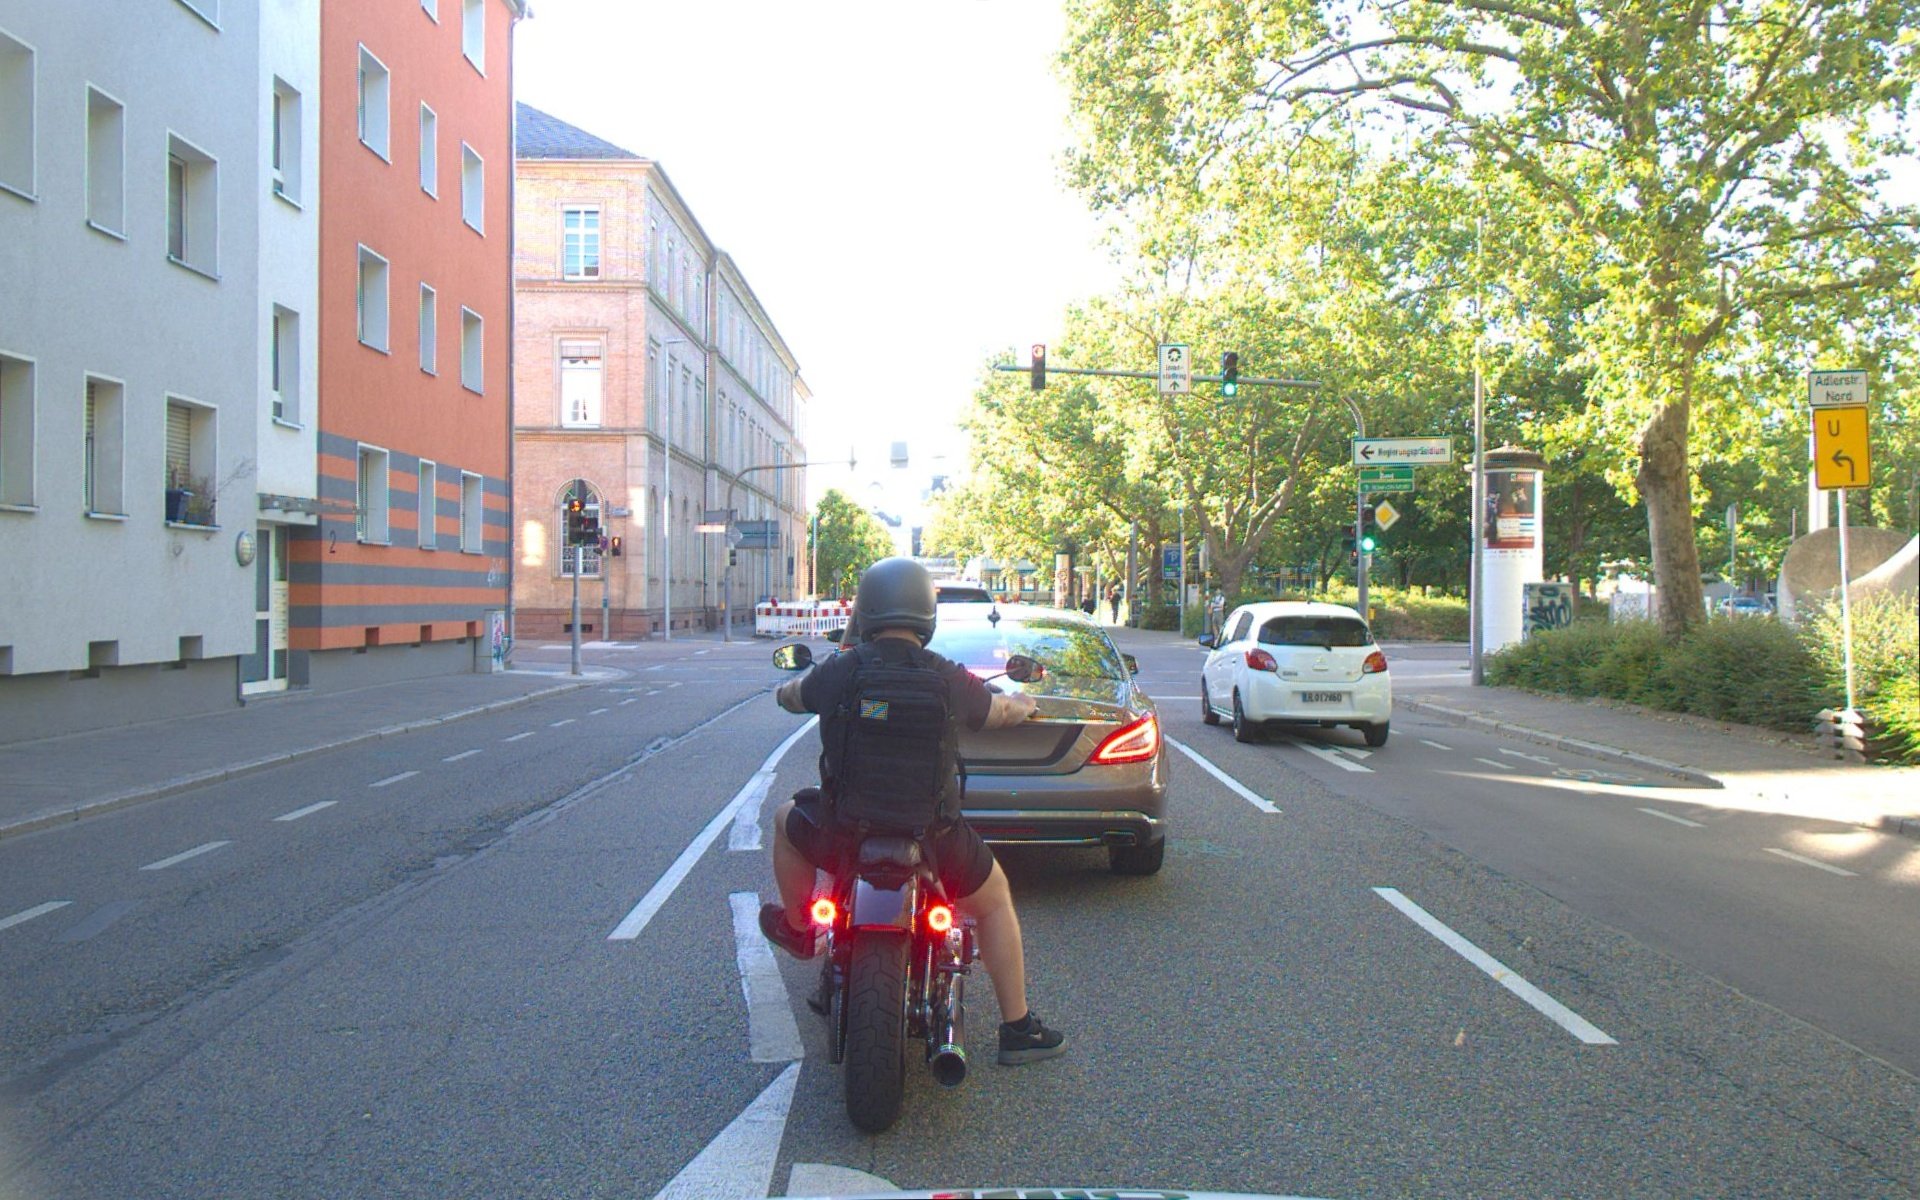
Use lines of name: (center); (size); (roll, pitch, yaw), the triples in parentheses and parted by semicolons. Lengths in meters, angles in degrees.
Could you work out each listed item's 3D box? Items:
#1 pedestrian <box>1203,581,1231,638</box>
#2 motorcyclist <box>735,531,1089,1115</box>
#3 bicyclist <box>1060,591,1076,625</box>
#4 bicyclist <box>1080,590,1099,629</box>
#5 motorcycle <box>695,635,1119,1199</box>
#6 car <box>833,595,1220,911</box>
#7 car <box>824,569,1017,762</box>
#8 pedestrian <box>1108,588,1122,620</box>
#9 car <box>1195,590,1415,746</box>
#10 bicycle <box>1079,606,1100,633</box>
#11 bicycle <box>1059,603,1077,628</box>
pedestrian: (8.287, 0.293, 53.322); (0.566, 1.805, 0.618); (2, -1, -35)
motorcyclist: (-0.145, 0.620, 5.338); (0.991, 1.630, 1.406); (0, 0, -1)
bicyclist: (5.055, 0.376, 77.322); (0.643, 1.557, 0.906); (2, 0, -1)
bicyclist: (5.276, 0.382, 67.569); (0.643, 1.557, 0.852); (2, 0, -1)
motorcycle: (-0.146, 0.811, 5.211); (0.991, 1.329, 2.672); (0, 0, -1)
car: (0.280, 0.712, 9.619); (1.791, 1.445, 3.814); (1, 0, -1)
car: (-0.502, 0.593, 16.686); (1.599, 1.679, 3.845); (2, 0, -6)
pedestrian: (7.775, 0.201, 82.871); (0.580, 1.606, 0.527); (2, 0, -1)
car: (3.727, 0.688, 18.446); (1.645, 1.524, 3.685); (2, 0, 0)
bicycle: (5.263, 0.779, 67.496); (0.643, 1.089, 1.926); (2, 0, -1)
bicycle: (5.044, 0.738, 77.327); (0.643, 1.131, 2.185); (2, 0, -1)
